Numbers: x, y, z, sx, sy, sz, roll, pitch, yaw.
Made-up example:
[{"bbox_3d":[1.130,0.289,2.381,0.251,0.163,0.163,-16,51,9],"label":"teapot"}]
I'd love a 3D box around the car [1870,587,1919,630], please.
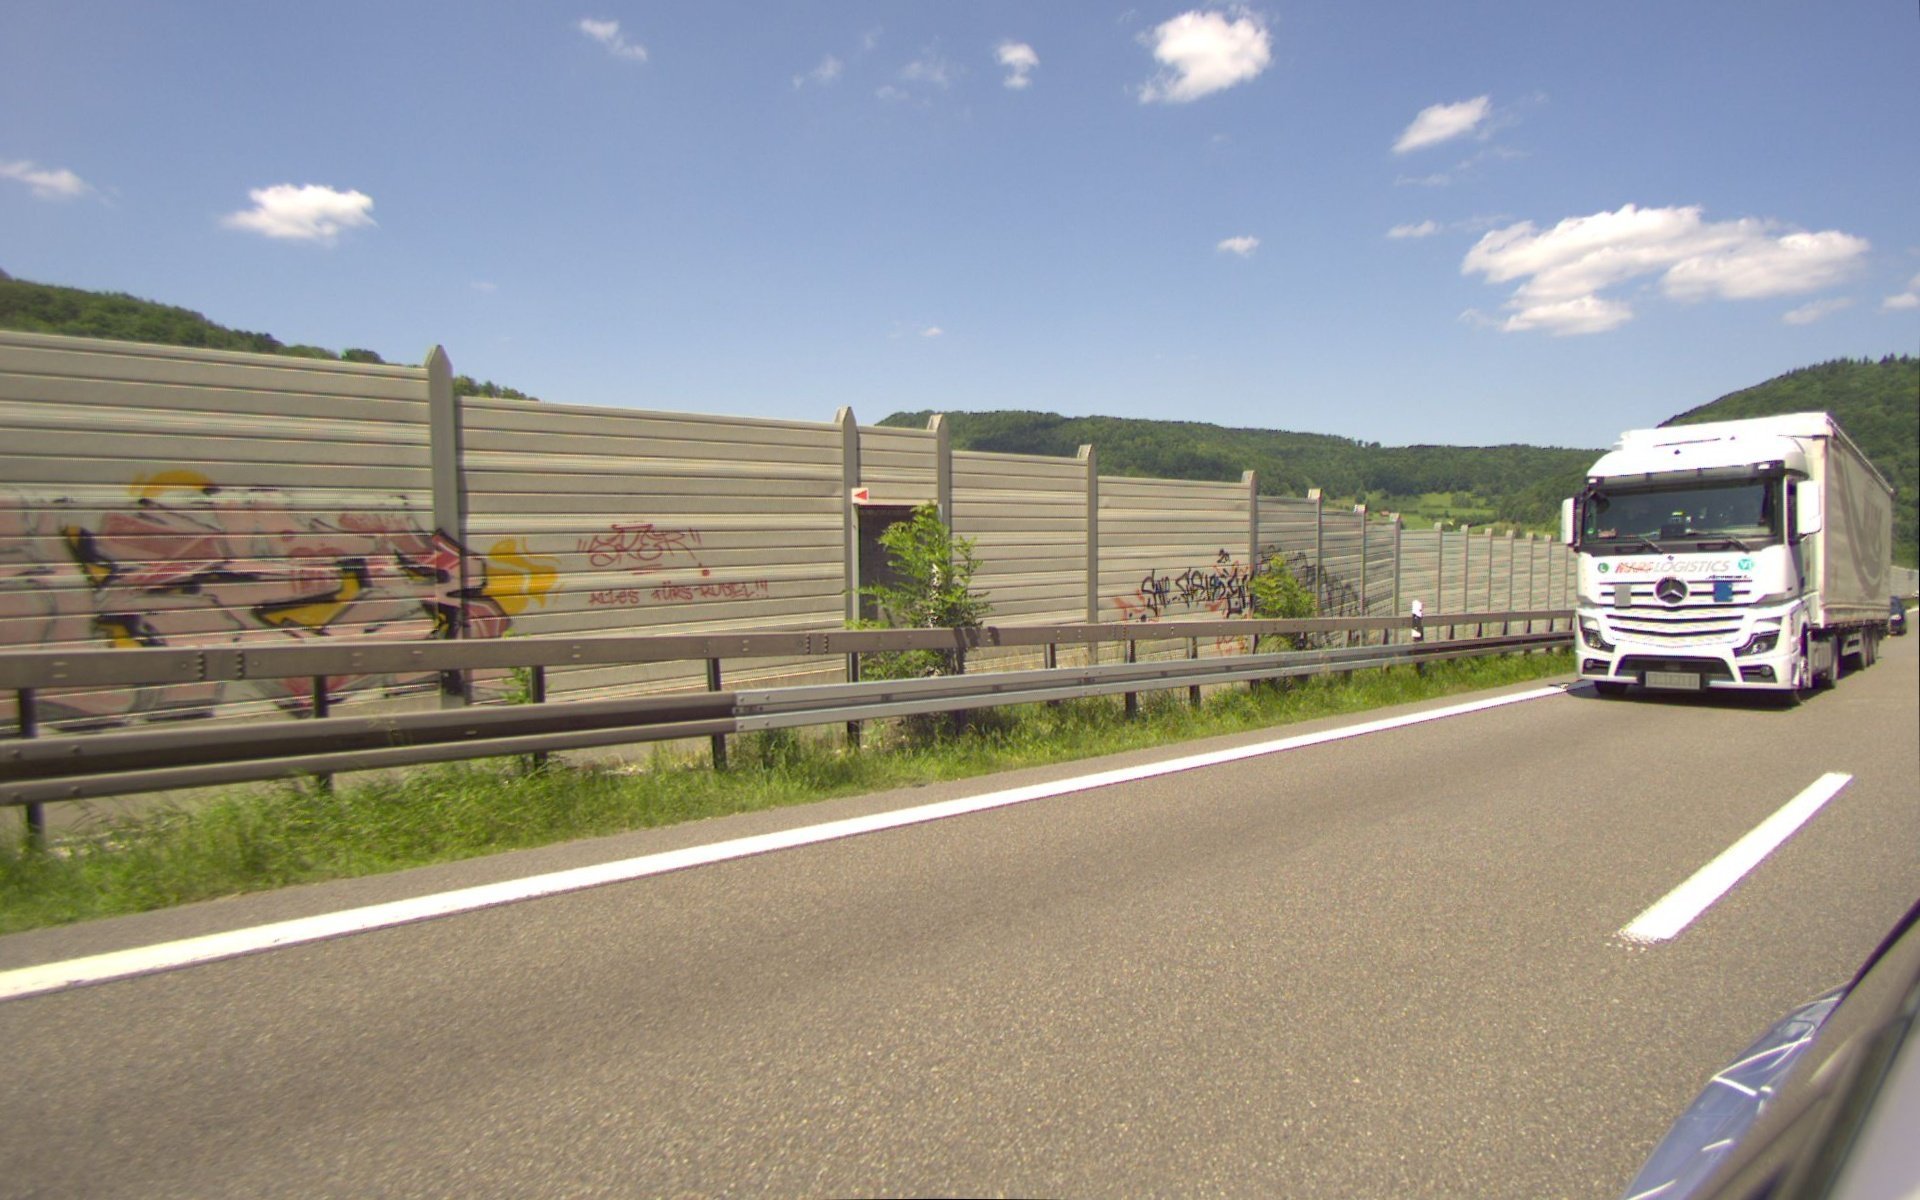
[{"bbox_3d":[34.116,0.284,36.454,3.417,1.430,1.660,-1,4,-44],"label":"car"}]

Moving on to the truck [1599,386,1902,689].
[{"bbox_3d":[15.419,-0.916,19.154,11.846,4.200,2.857,0,0,-44],"label":"truck"}]

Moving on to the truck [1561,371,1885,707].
[{"bbox_3d":[12.022,-0.856,15.685,6.710,4.087,2.761,-1,4,-44],"label":"truck"}]
